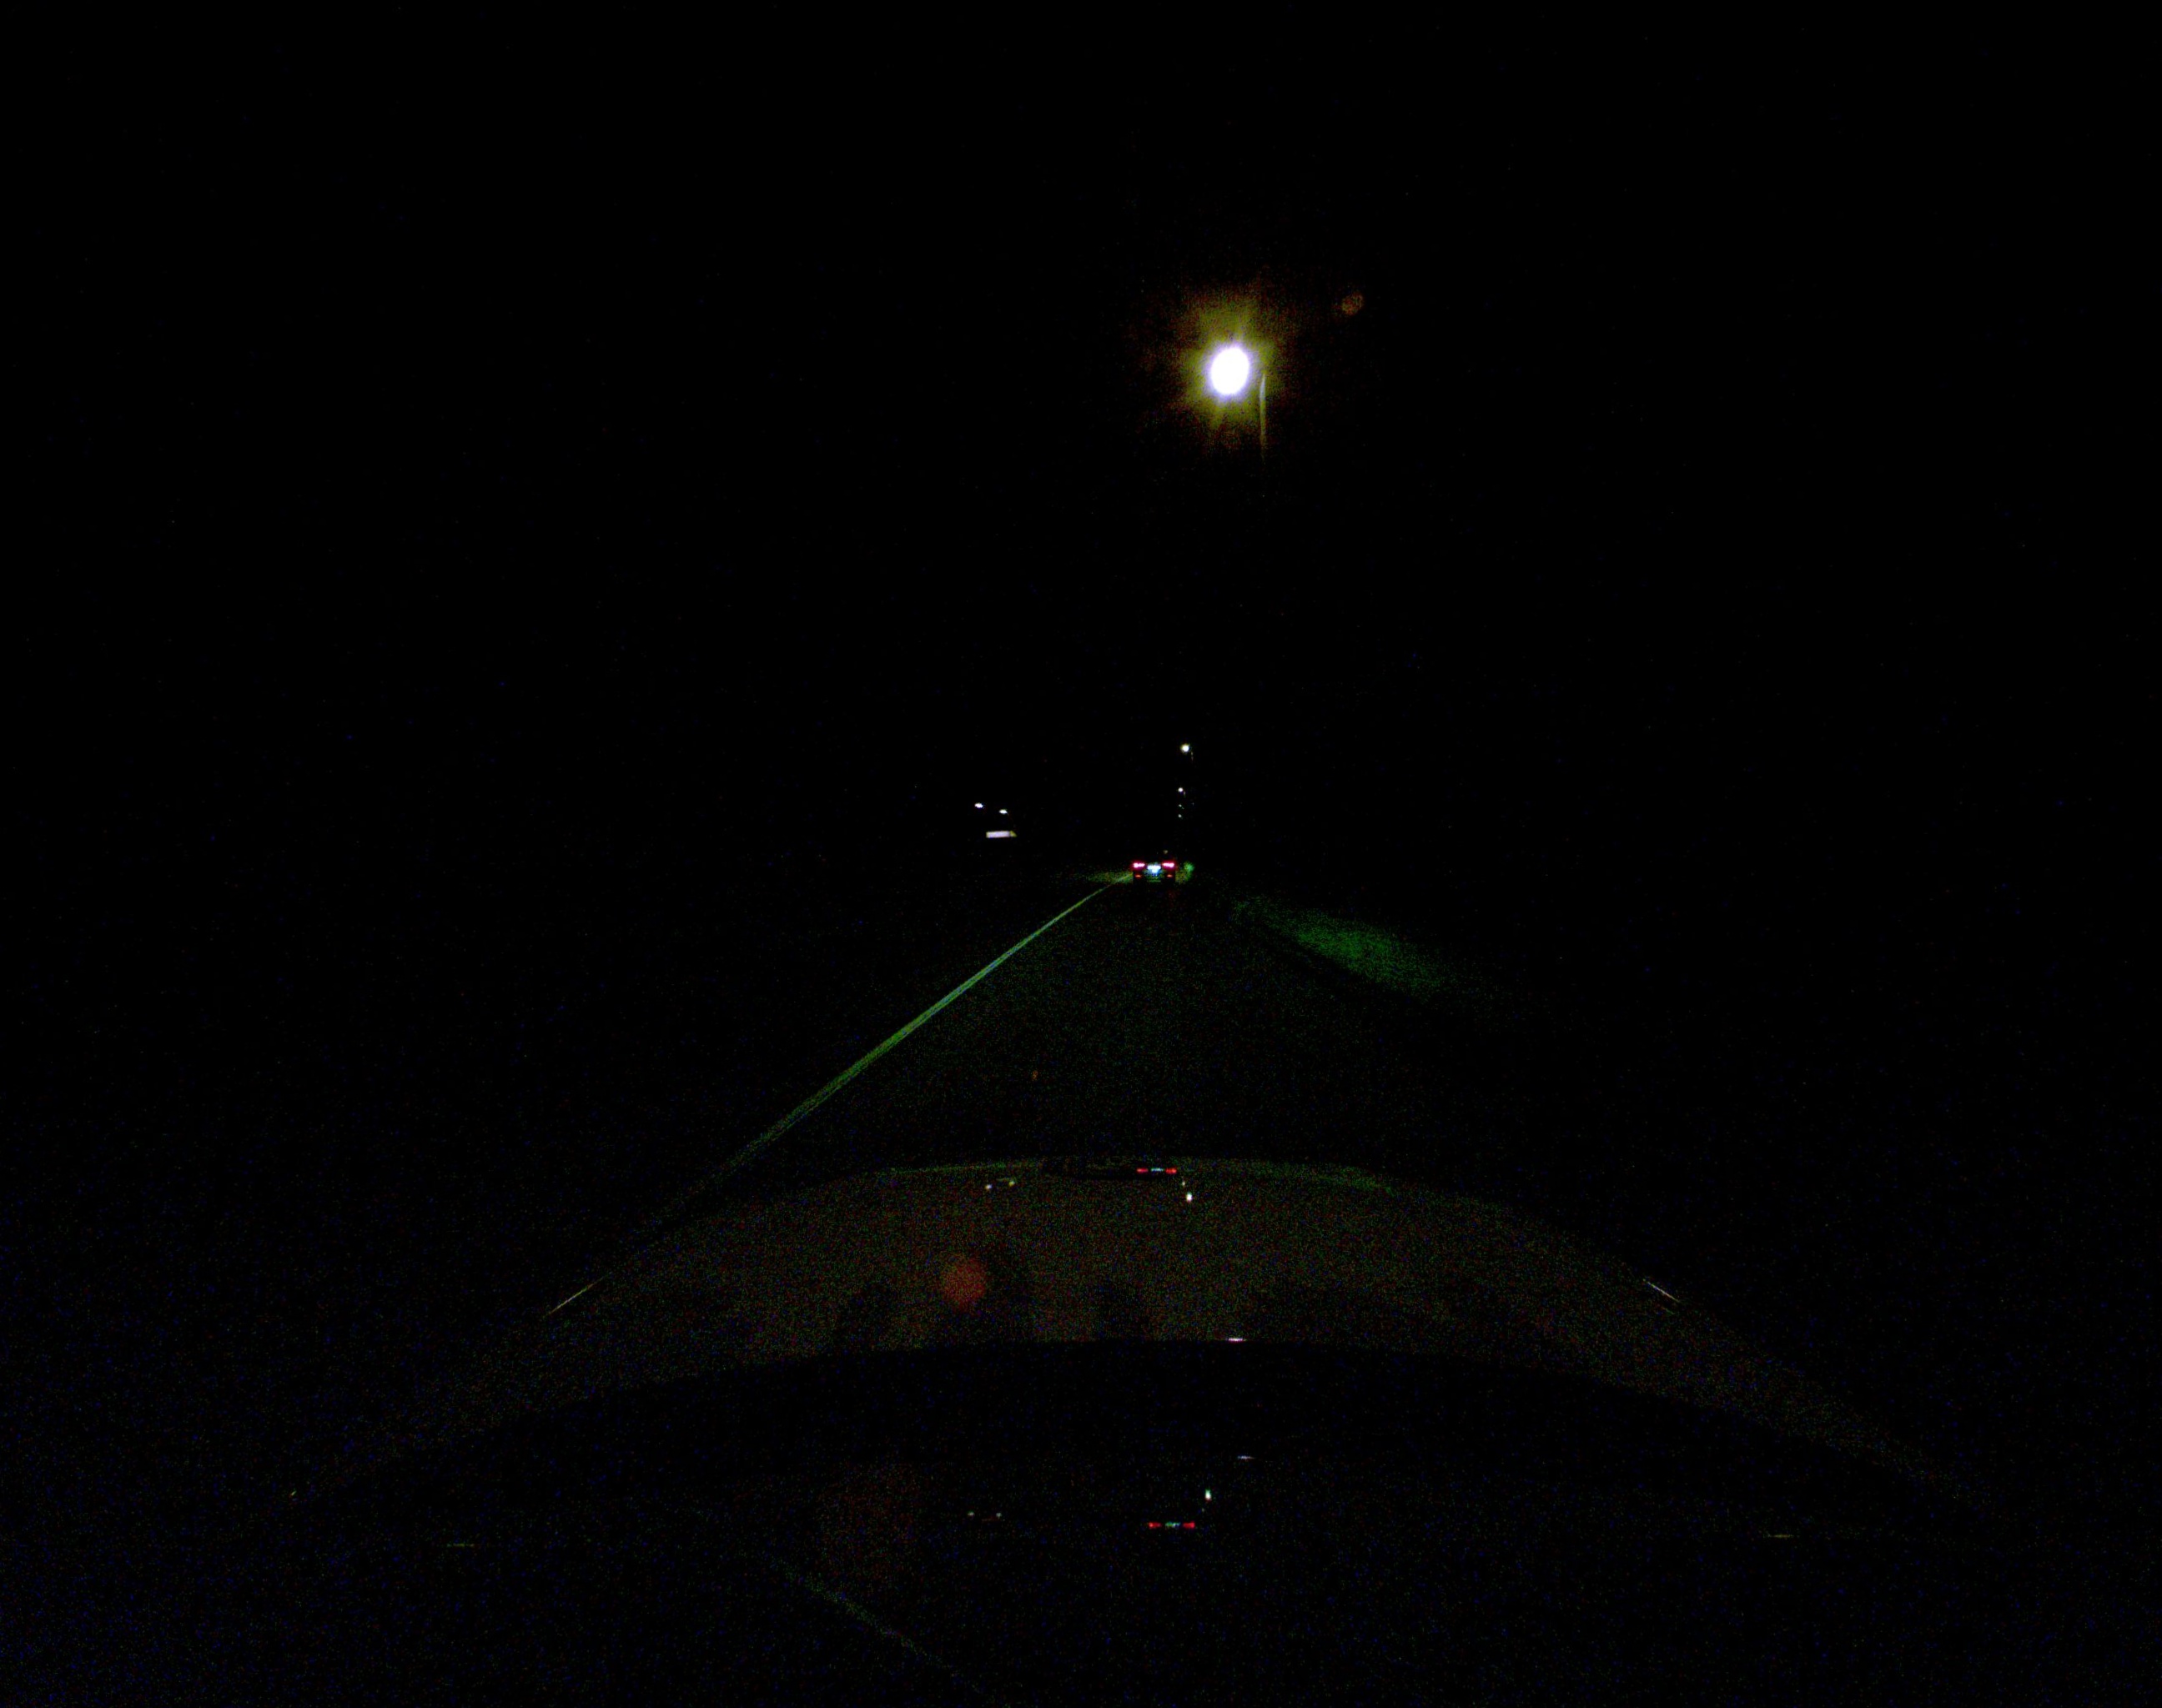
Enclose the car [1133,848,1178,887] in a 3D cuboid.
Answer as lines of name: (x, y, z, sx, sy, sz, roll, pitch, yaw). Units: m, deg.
car: (3.269, 0.557, 35.356, 1.805, 1.573, 3.951, -1, 0, 6)
